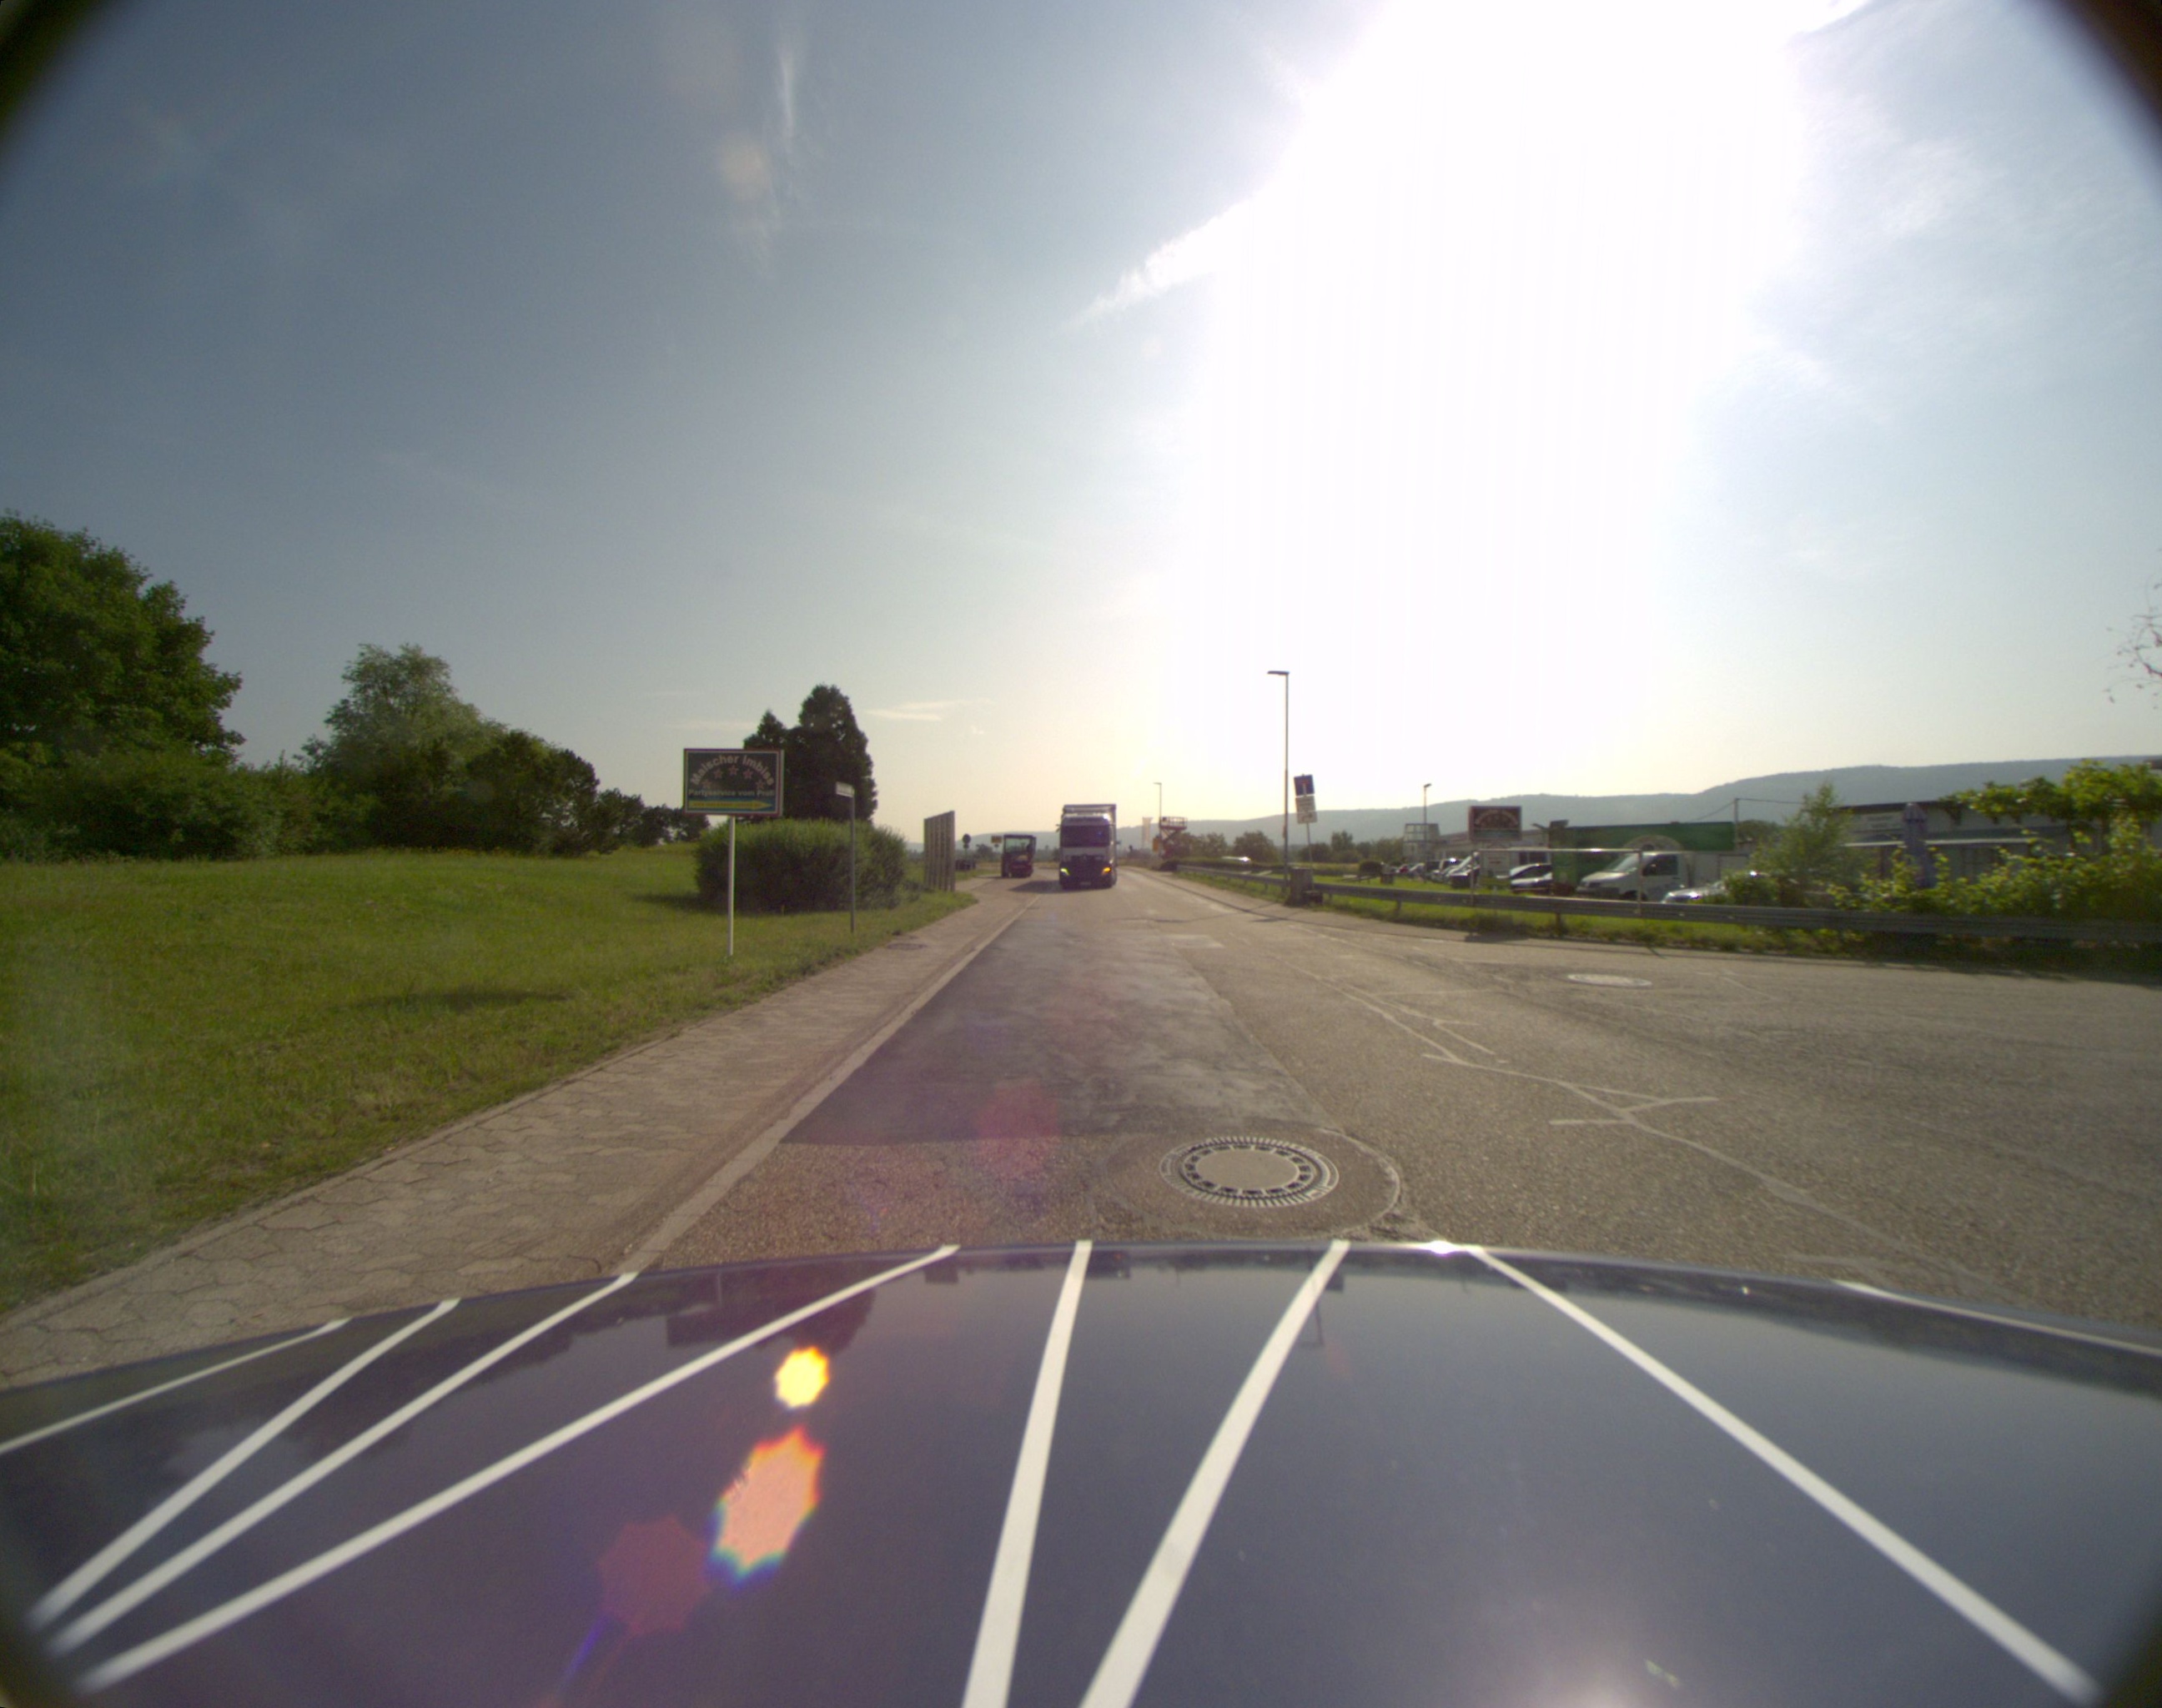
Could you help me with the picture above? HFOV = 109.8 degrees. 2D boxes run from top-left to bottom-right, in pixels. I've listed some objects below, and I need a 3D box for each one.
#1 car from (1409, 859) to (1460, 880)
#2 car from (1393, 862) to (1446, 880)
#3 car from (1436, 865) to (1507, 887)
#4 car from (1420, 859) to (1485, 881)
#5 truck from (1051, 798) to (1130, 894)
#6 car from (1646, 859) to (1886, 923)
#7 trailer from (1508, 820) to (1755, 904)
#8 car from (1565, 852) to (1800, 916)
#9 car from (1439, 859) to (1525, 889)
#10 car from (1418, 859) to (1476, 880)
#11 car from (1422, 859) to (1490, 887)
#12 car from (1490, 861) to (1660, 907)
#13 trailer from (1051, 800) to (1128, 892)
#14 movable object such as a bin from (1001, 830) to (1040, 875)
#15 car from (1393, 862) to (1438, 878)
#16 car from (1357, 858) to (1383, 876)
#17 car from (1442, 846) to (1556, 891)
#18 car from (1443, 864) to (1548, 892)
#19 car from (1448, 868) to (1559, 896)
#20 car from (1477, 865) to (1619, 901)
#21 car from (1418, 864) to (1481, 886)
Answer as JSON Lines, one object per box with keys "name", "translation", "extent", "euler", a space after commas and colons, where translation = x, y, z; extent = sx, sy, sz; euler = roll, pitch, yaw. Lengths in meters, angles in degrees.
{"name": "car", "translation": [31.332, 1.367, 67.468], "extent": [3.767, 1.785, 1.934], "euler": [-2, 1, 13]}
{"name": "car", "translation": [31.251, 1.577, 70.330], "extent": [4.149, 1.527, 1.885], "euler": [1, 0, 13]}
{"name": "car", "translation": [24.930, 1.381, 48.645], "extent": [3.750, 1.301, 1.809], "euler": [1, 0, 14]}
{"name": "car", "translation": [27.251, 1.164, 55.832], "extent": [3.993, 1.512, 1.686], "euler": [1, 0, 12]}
{"name": "truck", "translation": [0.469, -0.395, 36.777], "extent": [3.395, 4.183, 6.098], "euler": [-2, 1, 1]}
{"name": "car", "translation": [17.452, 0.922, 19.460], "extent": [4.839, 1.501, 1.961], "euler": [1, 0, -10]}
{"name": "trailer", "translation": [18.819, 0.227, 26.461], "extent": [6.315, 2.589, 2.857], "euler": [2, 0, 14]}
{"name": "car", "translation": [18.017, 0.865, 23.029], "extent": [5.272, 1.696, 2.001], "euler": [1, 0, 7]}
{"name": "car", "translation": [24.291, 1.212, 46.229], "extent": [4.393, 1.653, 1.810], "euler": [1, -1, 19]}
{"name": "car", "translation": [27.975, 1.170, 58.110], "extent": [3.681, 1.512, 1.686], "euler": [1, 0, 12]}
{"name": "car", "translation": [25.258, 1.239, 51.295], "extent": [3.750, 1.741, 1.751], "euler": [1, 0, 14]}
{"name": "car", "translation": [19.001, 1.125, 29.534], "extent": [5.131, 1.525, 2.181], "euler": [1, -1, 19]}
{"name": "trailer", "translation": [0.546, -0.479, 42.560], "extent": [3.497, 4.183, 14.232], "euler": [-2, 1, 1]}
{"name": "movable object such as a bin", "translation": [-4.330, -0.100, 53.443], "extent": [2.436, 2.994, 5.750], "euler": [1, 0, -7]}
{"name": "car", "translation": [32.285, 1.528, 73.450], "extent": [3.659, 1.455, 1.766], "euler": [1, 0, 15]}
{"name": "car", "translation": [34.031, 1.548, 89.679], "extent": [1.997, 2.002, 4.160], "euler": [1, 0, 9]}
{"name": "car", "translation": [23.861, 0.813, 43.630], "extent": [5.394, 2.358, 2.298], "euler": [1, -1, 19]}
{"name": "car", "translation": [22.430, 1.310, 41.354], "extent": [4.755, 1.346, 1.925], "euler": [1, -1, 19]}
{"name": "car", "translation": [21.379, 1.402, 38.646], "extent": [4.686, 1.212, 1.834], "euler": [1, -1, 19]}
{"name": "car", "translation": [20.052, 1.233, 32.858], "extent": [4.956, 1.309, 1.782], "euler": [1, -1, 19]}
{"name": "car", "translation": [25.954, 1.447, 53.629], "extent": [3.750, 1.381, 1.731], "euler": [1, 0, 14]}
